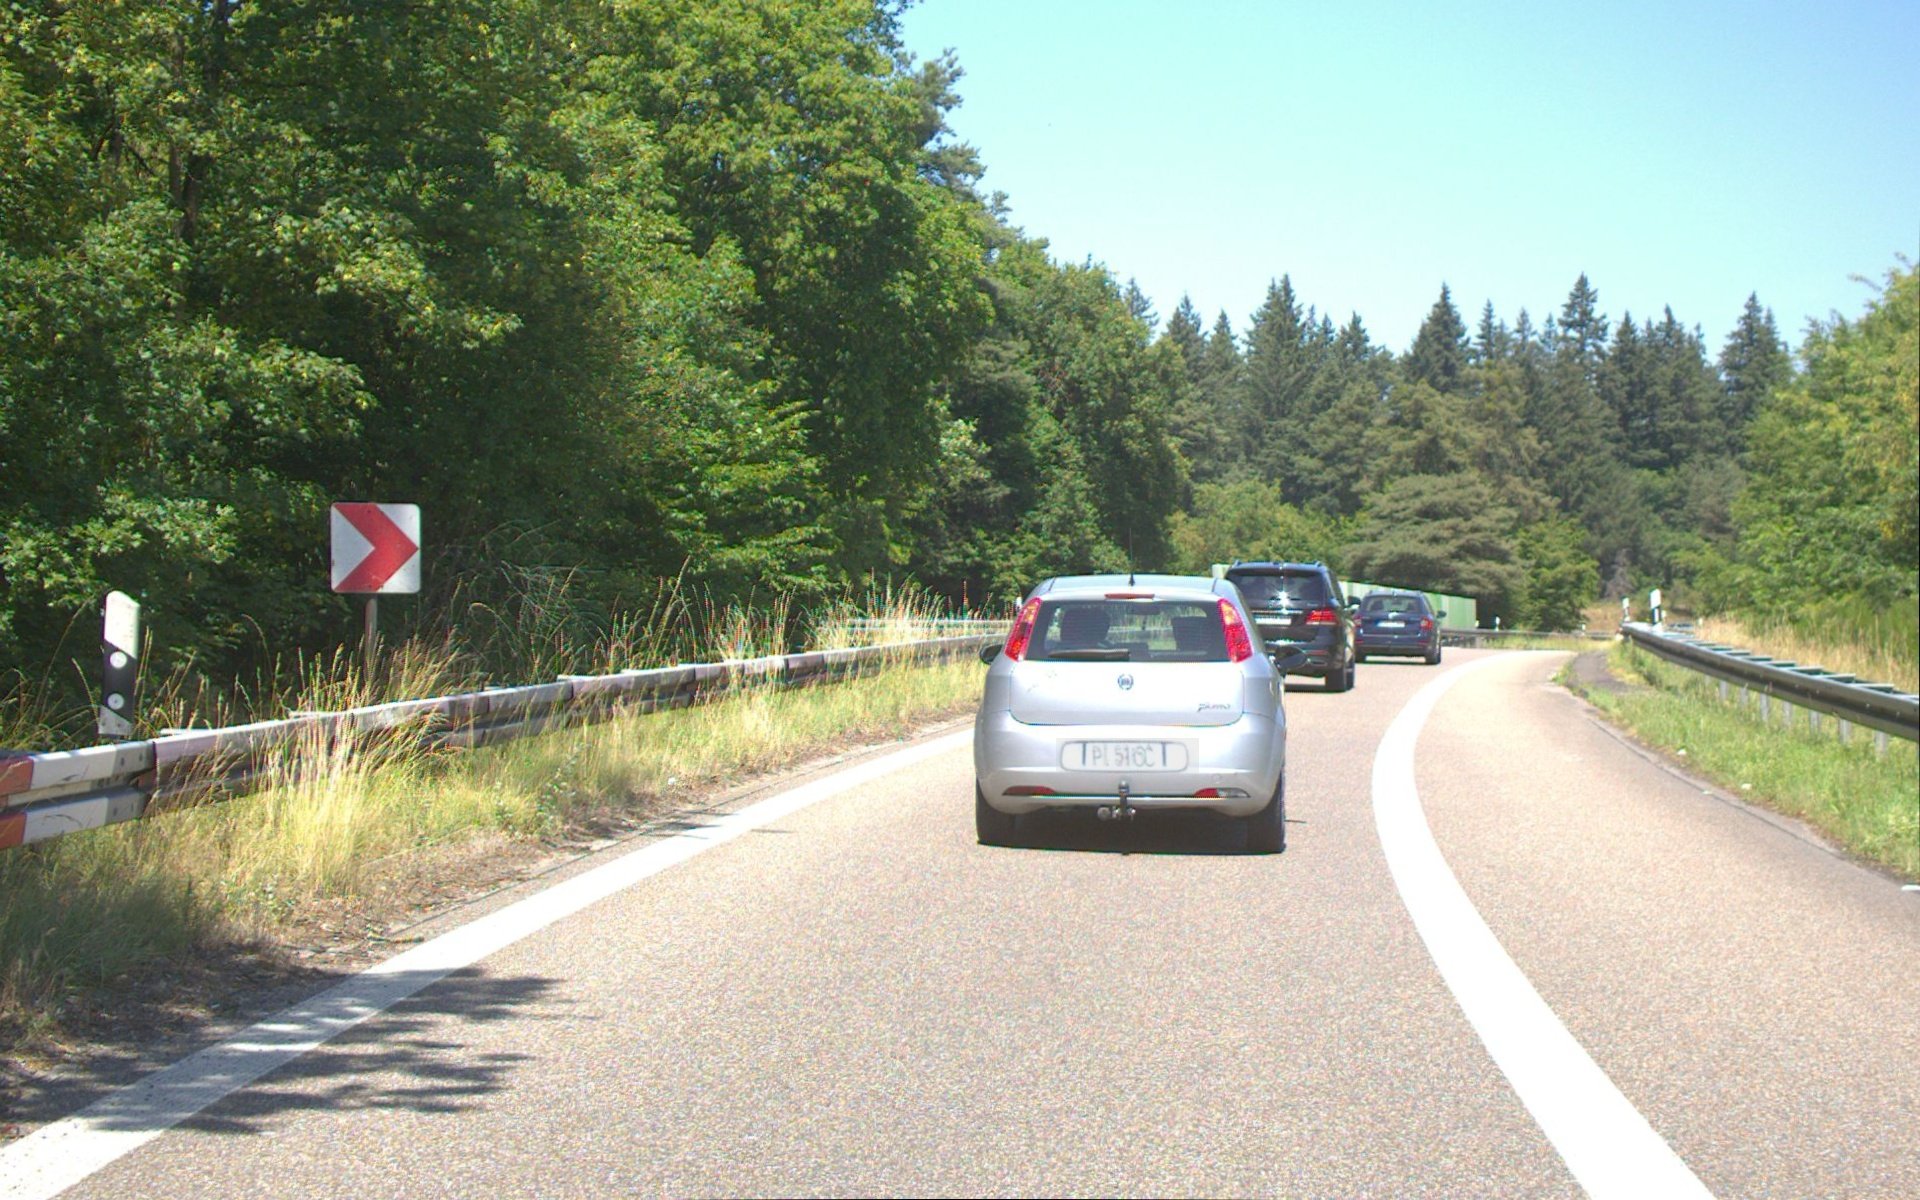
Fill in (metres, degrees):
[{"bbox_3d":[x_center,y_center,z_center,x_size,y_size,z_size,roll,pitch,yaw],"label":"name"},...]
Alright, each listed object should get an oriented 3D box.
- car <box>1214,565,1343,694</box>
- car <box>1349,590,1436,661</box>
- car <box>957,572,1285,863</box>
[{"bbox_3d":[4.397,0.377,47.109,1.641,1.648,3.573,2,0,7],"label":"car"},{"bbox_3d":[8.668,0.489,68.957,1.641,1.338,3.573,2,0,7],"label":"car"},{"bbox_3d":[0.993,0.595,19.565,1.640,1.463,3.418,2,0,6],"label":"car"}]
